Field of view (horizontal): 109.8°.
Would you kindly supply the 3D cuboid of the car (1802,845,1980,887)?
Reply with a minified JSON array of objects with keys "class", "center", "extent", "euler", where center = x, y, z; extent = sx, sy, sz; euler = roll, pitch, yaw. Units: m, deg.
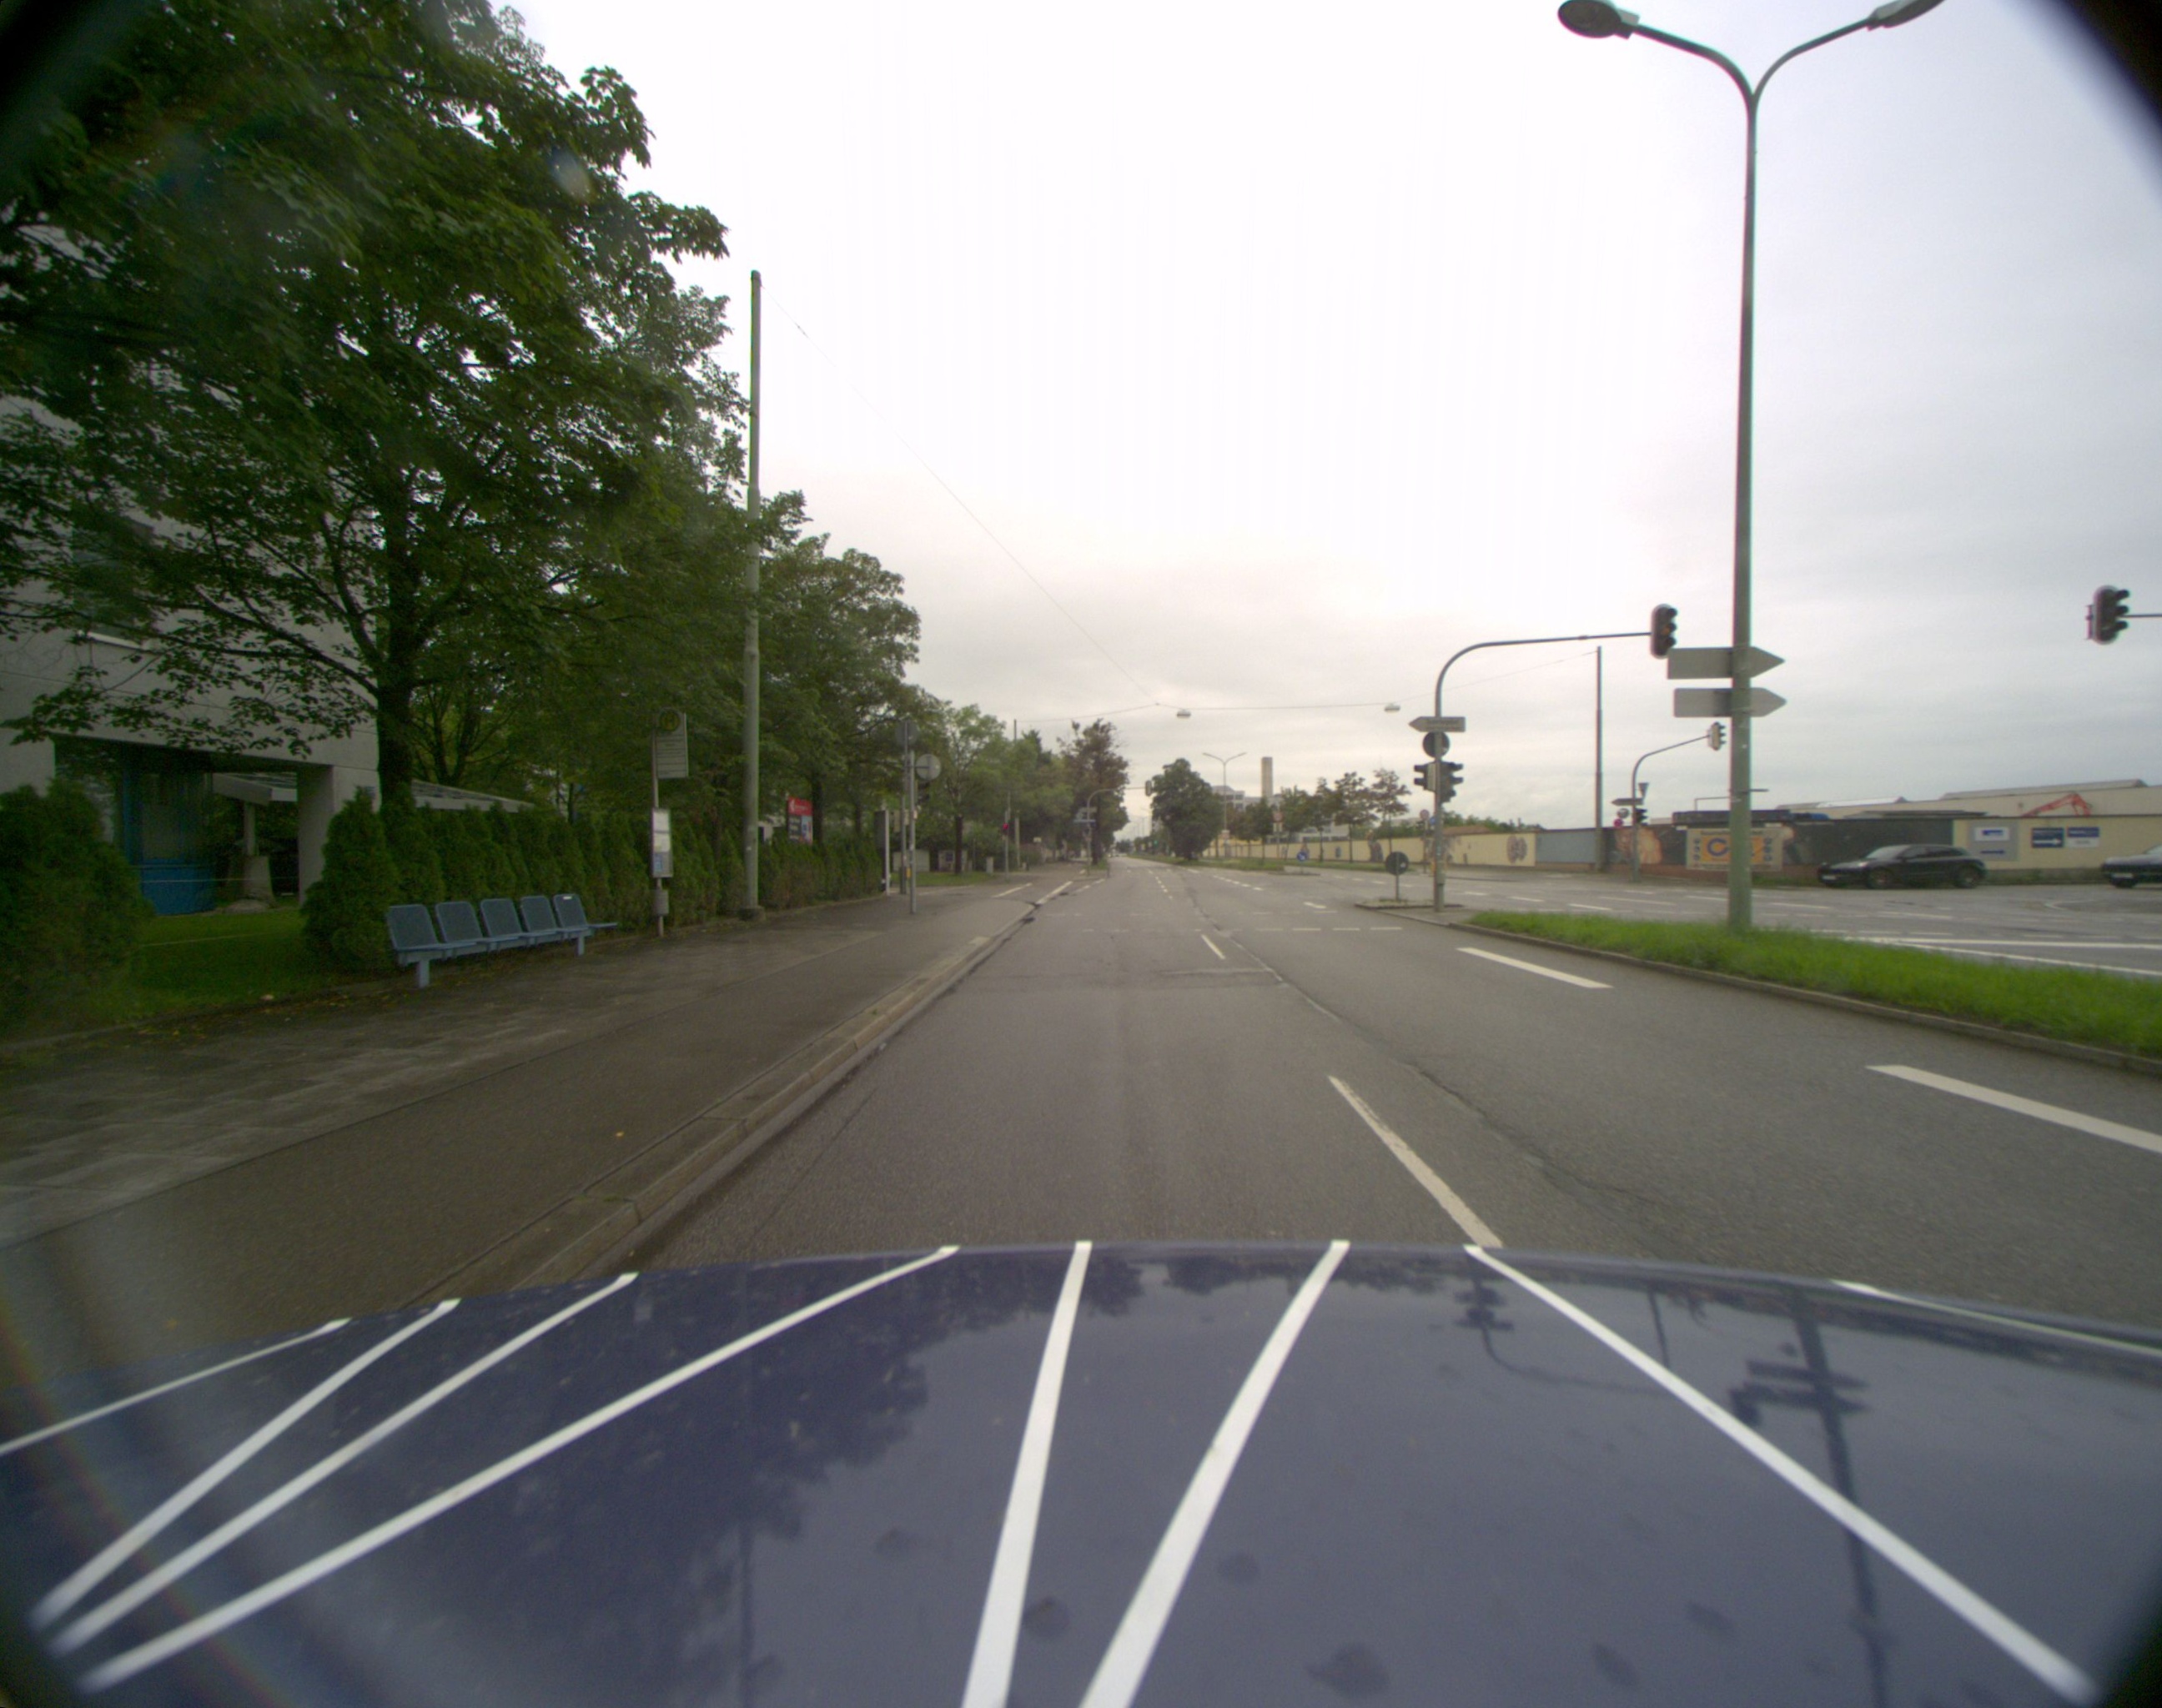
[{"class":"car","center":[29.845,0.426,28.130],"extent":[4.259,1.419,2.001],"euler":[-1,0,5]}]

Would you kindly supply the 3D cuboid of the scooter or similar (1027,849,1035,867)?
[{"class":"scooter or similar","center":[-3.797,0.293,57.911],"extent":[0.371,1.416,1.404],"euler":[0,1,-13]}]

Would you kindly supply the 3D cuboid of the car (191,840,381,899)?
[{"class":"car","center":[-20.911,0.367,20.016],"extent":[4.167,1.410,1.872],"euler":[1,1,19]}]

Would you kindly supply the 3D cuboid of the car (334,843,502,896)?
[{"class":"car","center":[-19.447,0.414,22.321],"extent":[4.167,1.410,1.872],"euler":[1,1,19]}]

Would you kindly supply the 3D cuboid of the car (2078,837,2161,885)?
[{"class":"car","center":[37.089,0.187,25.393],"extent":[4.627,1.524,2.001],"euler":[-1,1,5]}]

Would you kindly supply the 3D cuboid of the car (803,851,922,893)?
[{"class":"car","center":[-9.485,0.795,32.922],"extent":[4.779,1.712,2.003],"euler":[-1,0,25]}]

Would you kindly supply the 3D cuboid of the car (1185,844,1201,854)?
[{"class":"car","center":[16.735,-0.736,113.947],"extent":[1.916,1.498,4.440],"euler":[1,0,3]}]

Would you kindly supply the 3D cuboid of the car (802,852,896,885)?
[{"class":"car","center":[-12.392,0.769,40.676],"extent":[4.276,1.566,2.001],"euler":[-1,3,11]}]

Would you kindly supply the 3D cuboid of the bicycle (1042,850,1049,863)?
[{"class":"bicycle","center":[-3.609,0.275,77.293],"extent":[0.583,1.288,2.454],"euler":[0,1,0]}]
